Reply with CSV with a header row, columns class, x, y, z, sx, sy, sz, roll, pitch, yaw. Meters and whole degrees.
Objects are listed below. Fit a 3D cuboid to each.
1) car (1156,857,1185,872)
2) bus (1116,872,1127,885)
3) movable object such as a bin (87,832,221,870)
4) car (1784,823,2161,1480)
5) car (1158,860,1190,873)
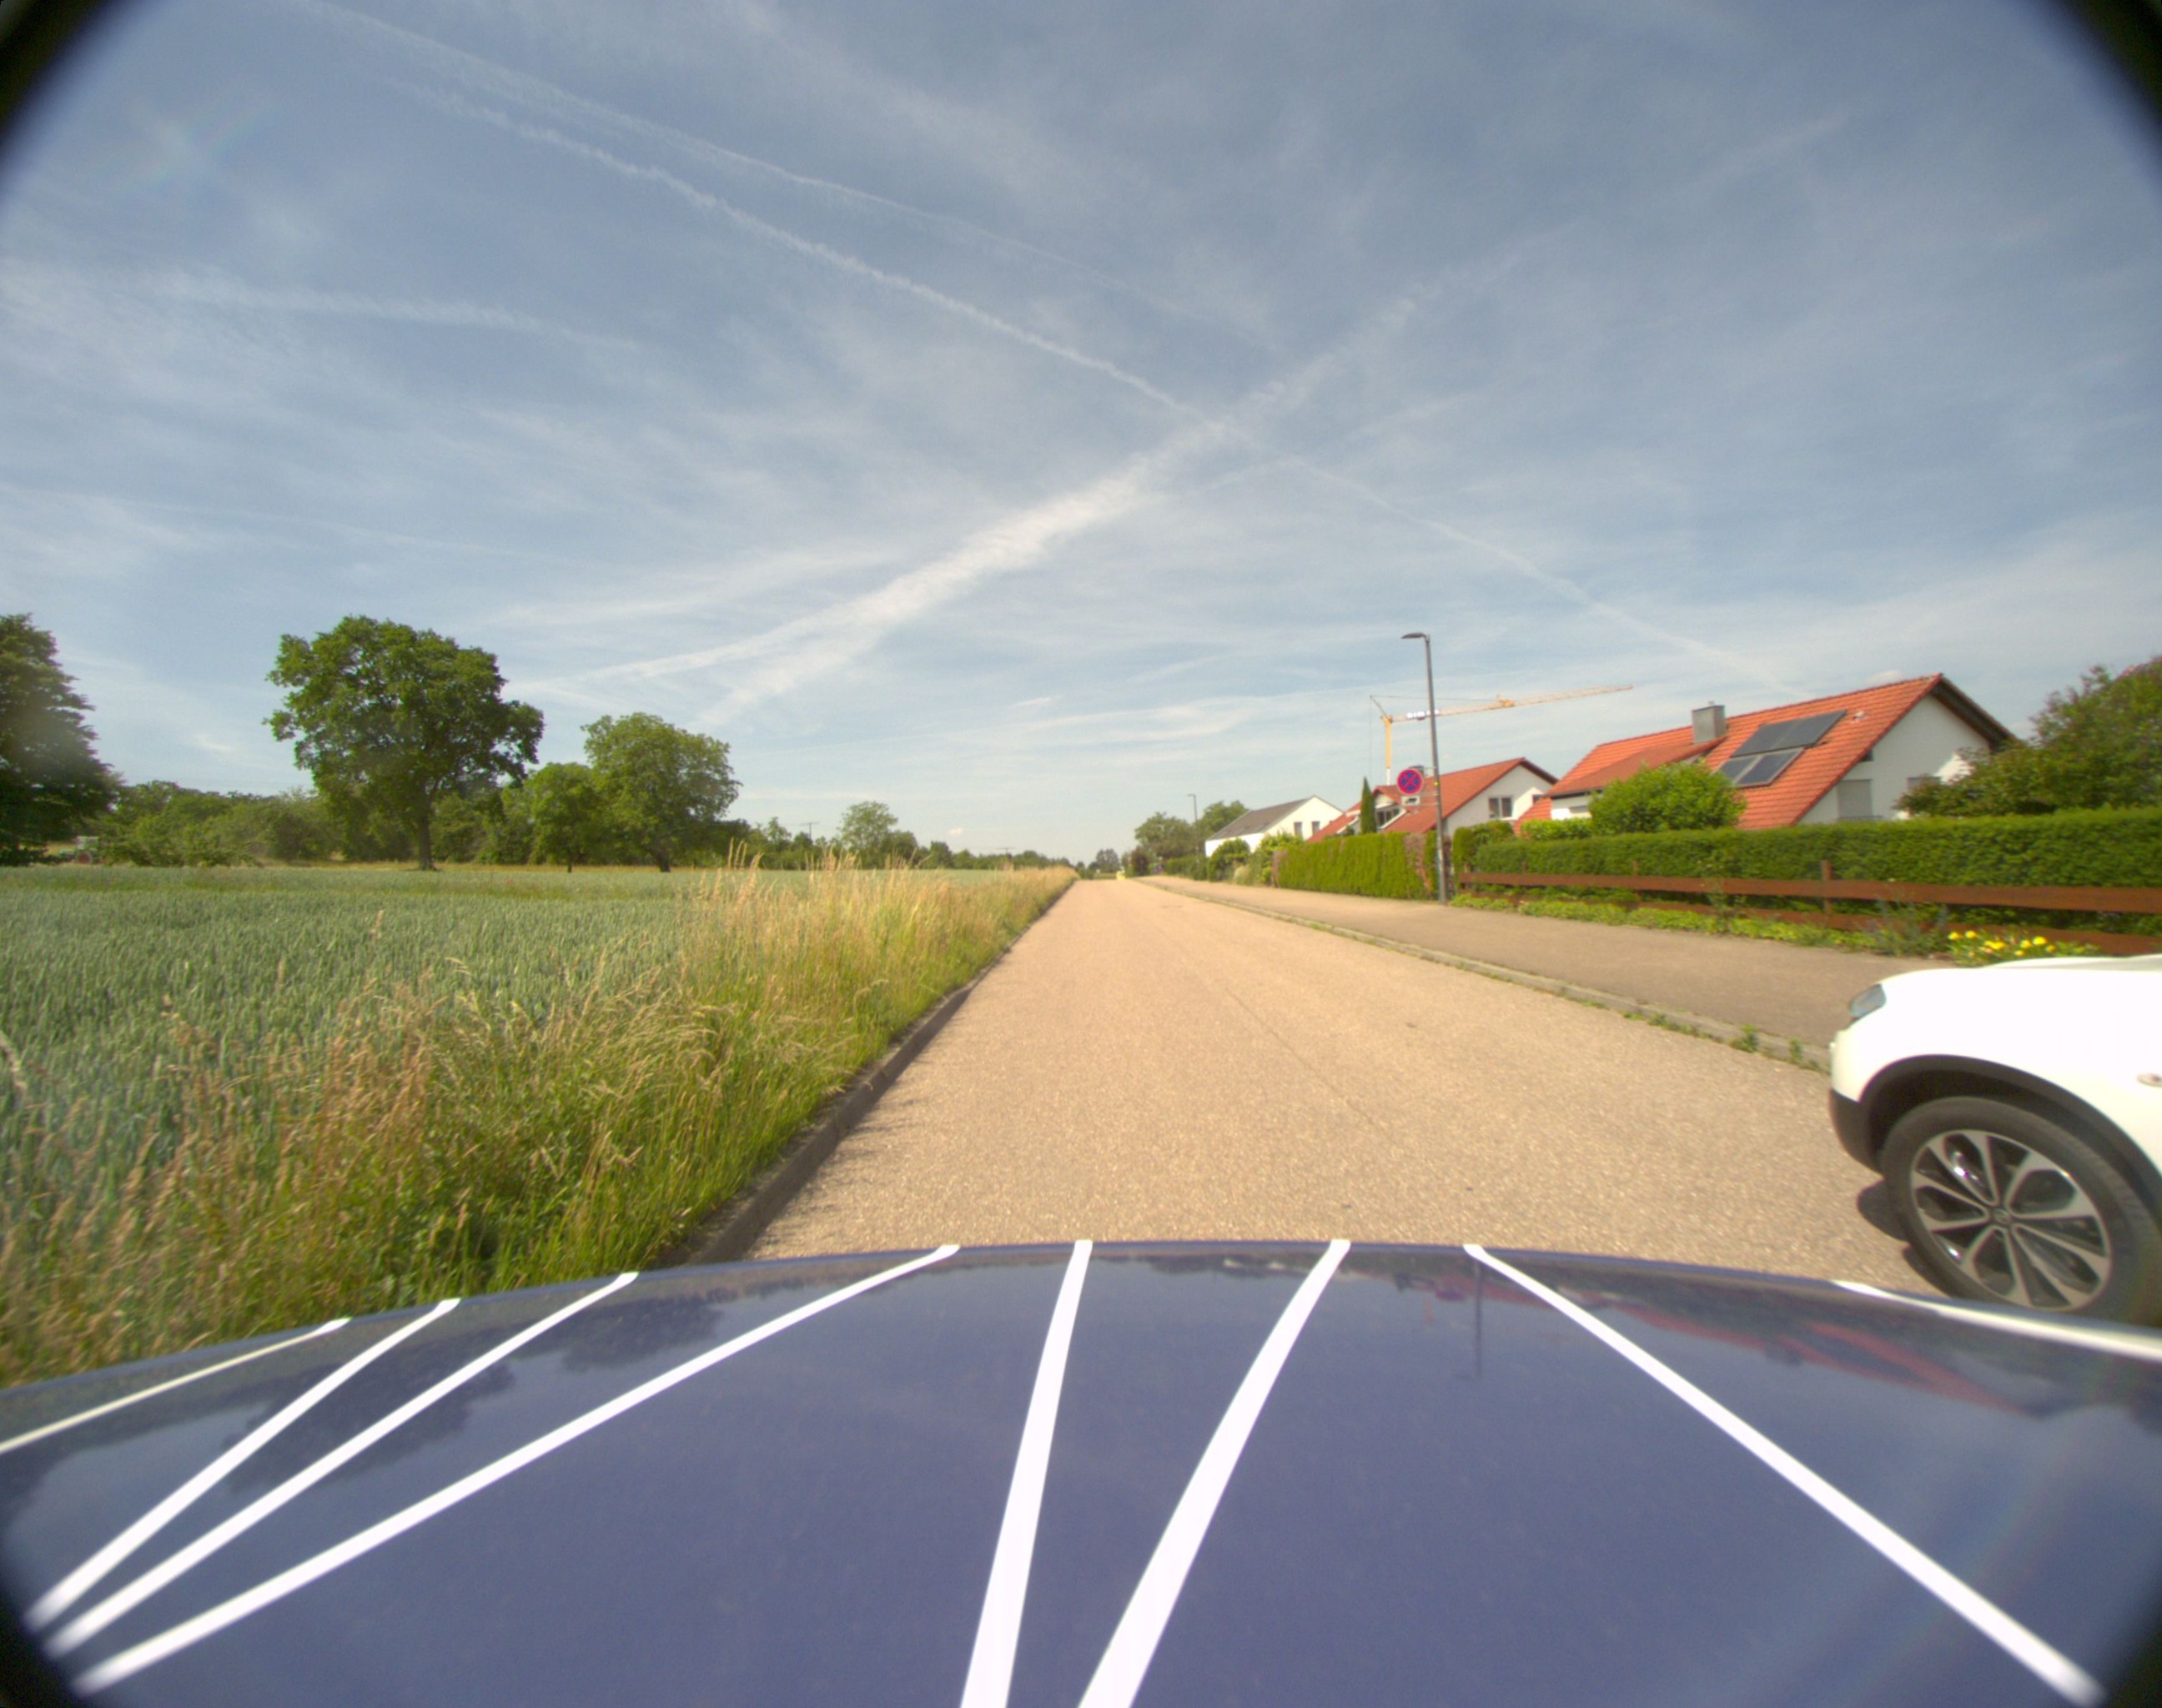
class,x,y,z,sx,sy,sz,roll,pitch,yaw
car,12.317,1.467,104.741,3.885,1.801,1.801,-4,-1,5
bus,11.910,7.152,222.768,3.066,3.556,9.458,-2,0,4
movable object such as a bin,-64.830,-0.193,53.215,6.569,2.356,2.446,2,0,3
car,3.539,0.718,0.685,1.739,1.623,4.352,-2,0,0
car,11.794,1.584,96.351,3.885,1.313,1.801,-3,-1,5
